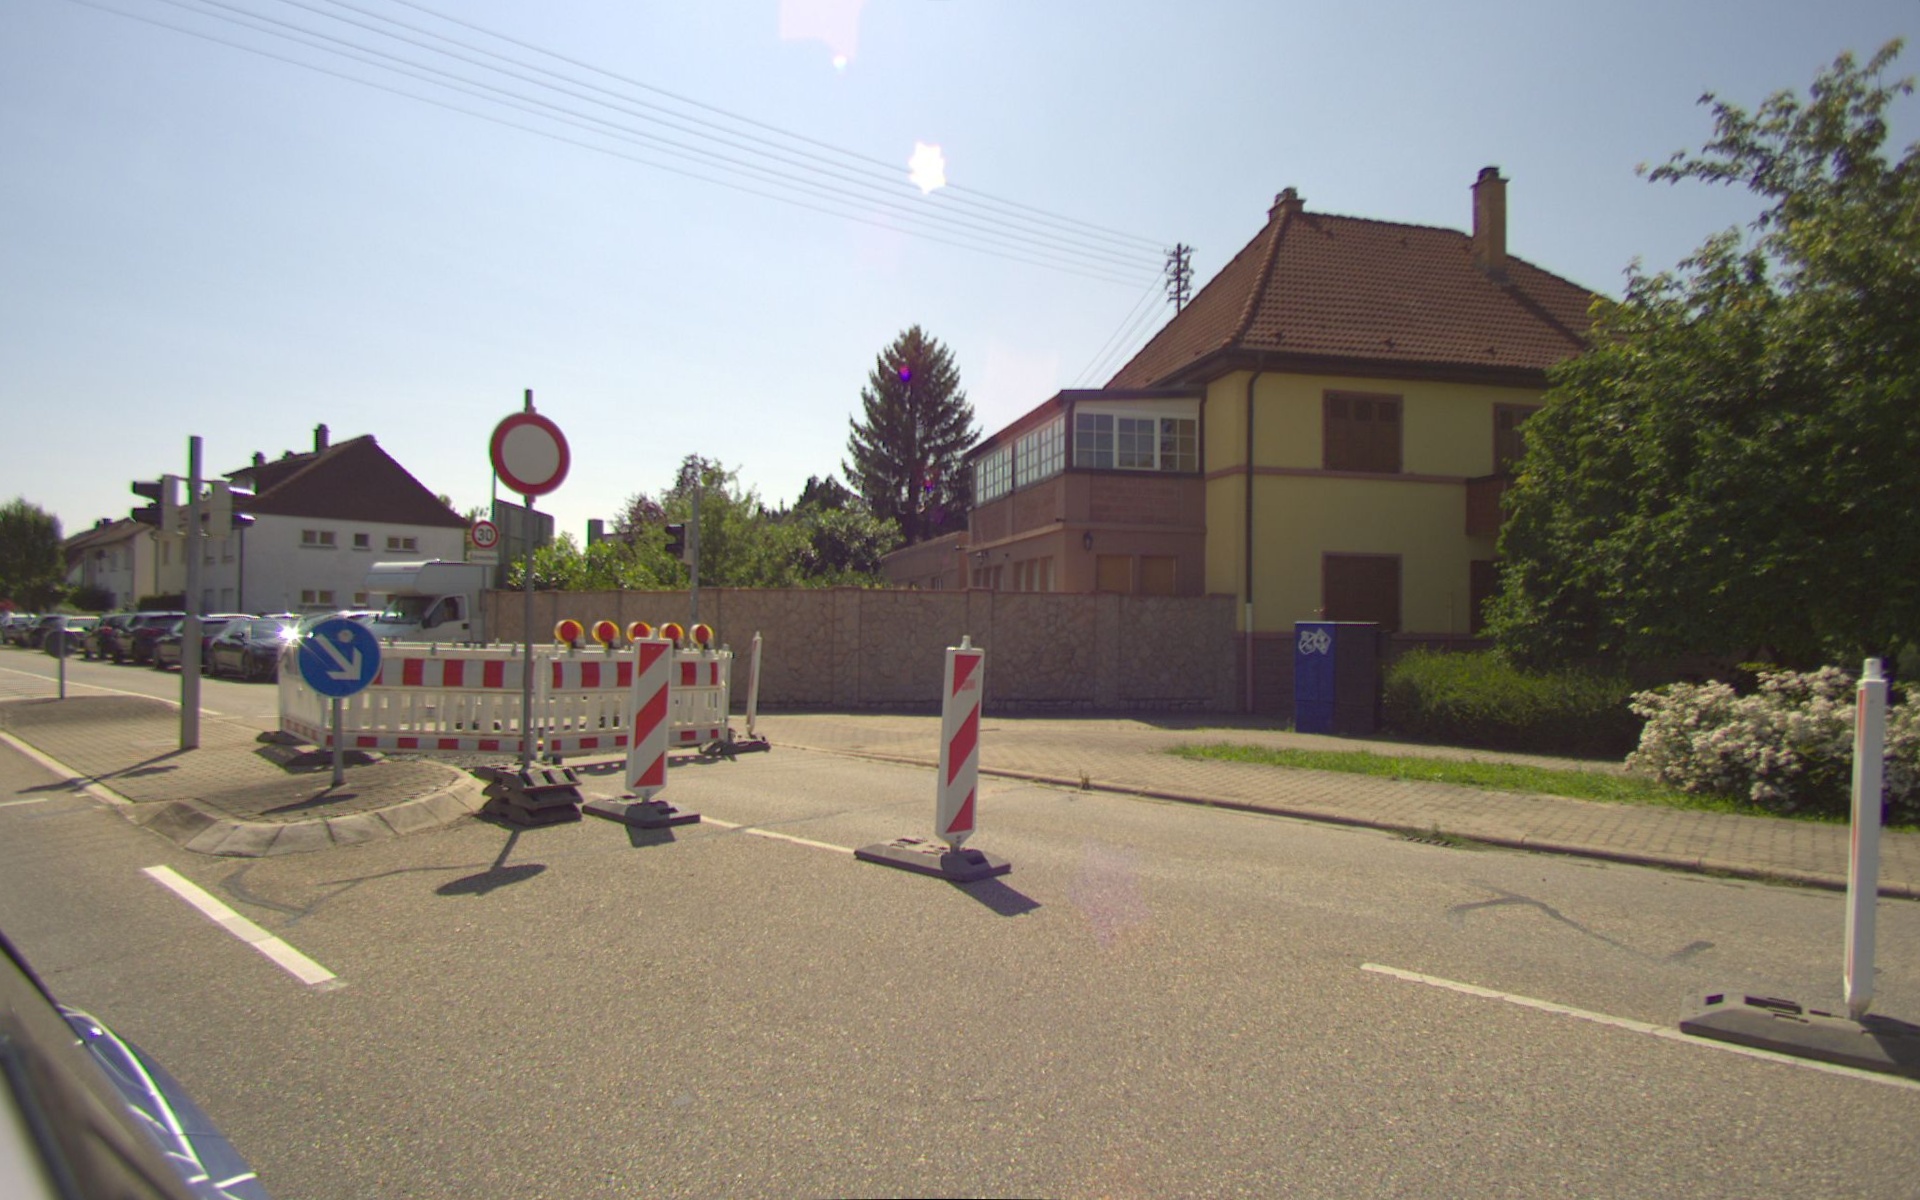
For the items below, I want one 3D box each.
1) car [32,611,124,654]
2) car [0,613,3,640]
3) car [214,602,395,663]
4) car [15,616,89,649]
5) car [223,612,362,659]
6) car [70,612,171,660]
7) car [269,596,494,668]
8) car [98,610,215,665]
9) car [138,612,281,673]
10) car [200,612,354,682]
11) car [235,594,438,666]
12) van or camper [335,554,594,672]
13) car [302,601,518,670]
[{"bbox_3d":[-34.496,1.248,39.550,4.539,1.559,1.840,0,-3,38],"label":"car"},{"bbox_3d":[-56.904,1.520,58.516,3.911,1.525,1.718,-1,-1,38],"label":"car"},{"bbox_3d":[-21.926,1.073,34.052,1.995,1.878,4.723,-1,-2,34],"label":"car"},{"bbox_3d":[-40.037,1.426,44.611,3.911,1.328,1.718,0,-3,38],"label":"car"},{"bbox_3d":[-24.781,1.299,37.686,1.763,1.628,3.955,-1,-2,33],"label":"car"},{"bbox_3d":[-28.867,1.210,34.779,4.173,1.559,1.839,-1,-3,39],"label":"car"},{"bbox_3d":[-17.706,0.964,31.337,2.125,2.017,5.719,0,-1,32],"label":"car"},{"bbox_3d":[-24.952,1.148,31.372,4.222,1.603,1.840,0,-3,38],"label":"car"},{"bbox_3d":[-20.471,1.126,27.557,4.502,1.511,1.929,0,-3,38],"label":"car"},{"bbox_3d":[-16.319,1.074,24.084,4.507,1.511,1.927,-1,-3,41],"label":"car"},{"bbox_3d":[-19.911,0.939,32.580,2.205,2.103,5.123,0,-1,32],"label":"car"},{"bbox_3d":[-13.404,0.378,27.943,2.282,2.865,6.197,0,-1,30],"label":"van or camper"},{"bbox_3d":[-15.569,0.984,28.970,2.124,1.782,5.062,0,-1,30],"label":"car"}]
